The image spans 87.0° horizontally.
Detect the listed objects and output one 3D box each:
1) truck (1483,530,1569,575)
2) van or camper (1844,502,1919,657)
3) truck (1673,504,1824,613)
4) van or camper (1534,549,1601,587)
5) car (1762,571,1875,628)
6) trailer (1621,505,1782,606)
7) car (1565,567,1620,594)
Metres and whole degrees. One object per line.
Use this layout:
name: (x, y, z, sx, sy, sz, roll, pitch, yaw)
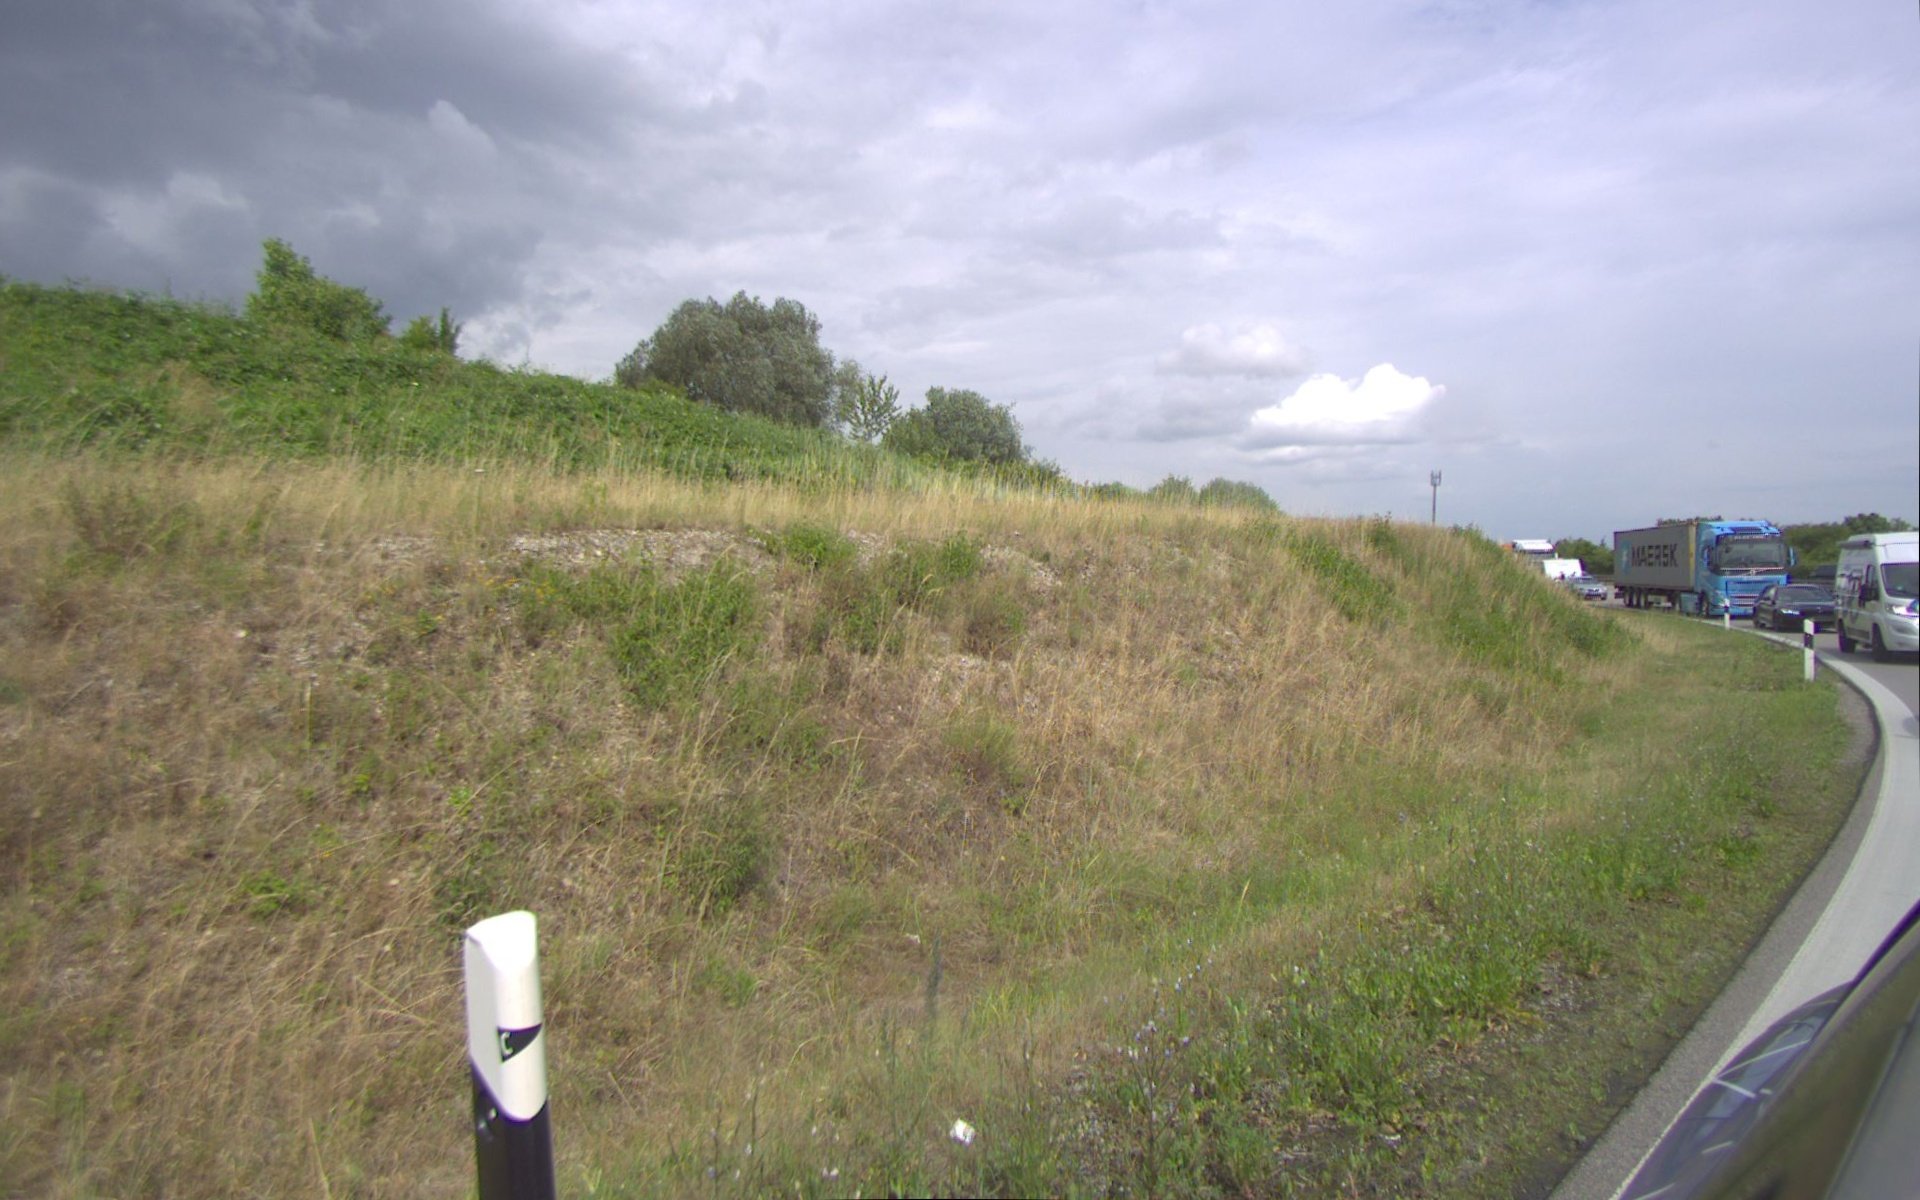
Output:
truck: (44.124, -3.597, 79.353, 3.080, 3.279, 11.113, 0, 2, 14)
van or camper: (20.529, -0.424, 21.162, 2.383, 2.945, 5.650, 0, 0, 34)
truck: (32.473, -1.593, 42.036, 3.142, 4.124, 6.600, 0, 0, 21)
van or camper: (40.582, -2.164, 67.768, 2.519, 2.237, 5.684, -1, 4, 17)
car: (27.126, -0.080, 32.125, 1.983, 1.638, 3.960, 1, 2, 29)
trailer: (34.987, -1.918, 48.431, 3.237, 4.214, 11.931, 0, 0, 21)
car: (38.645, -1.209, 61.933, 1.974, 1.548, 3.977, 0, 2, 19)
